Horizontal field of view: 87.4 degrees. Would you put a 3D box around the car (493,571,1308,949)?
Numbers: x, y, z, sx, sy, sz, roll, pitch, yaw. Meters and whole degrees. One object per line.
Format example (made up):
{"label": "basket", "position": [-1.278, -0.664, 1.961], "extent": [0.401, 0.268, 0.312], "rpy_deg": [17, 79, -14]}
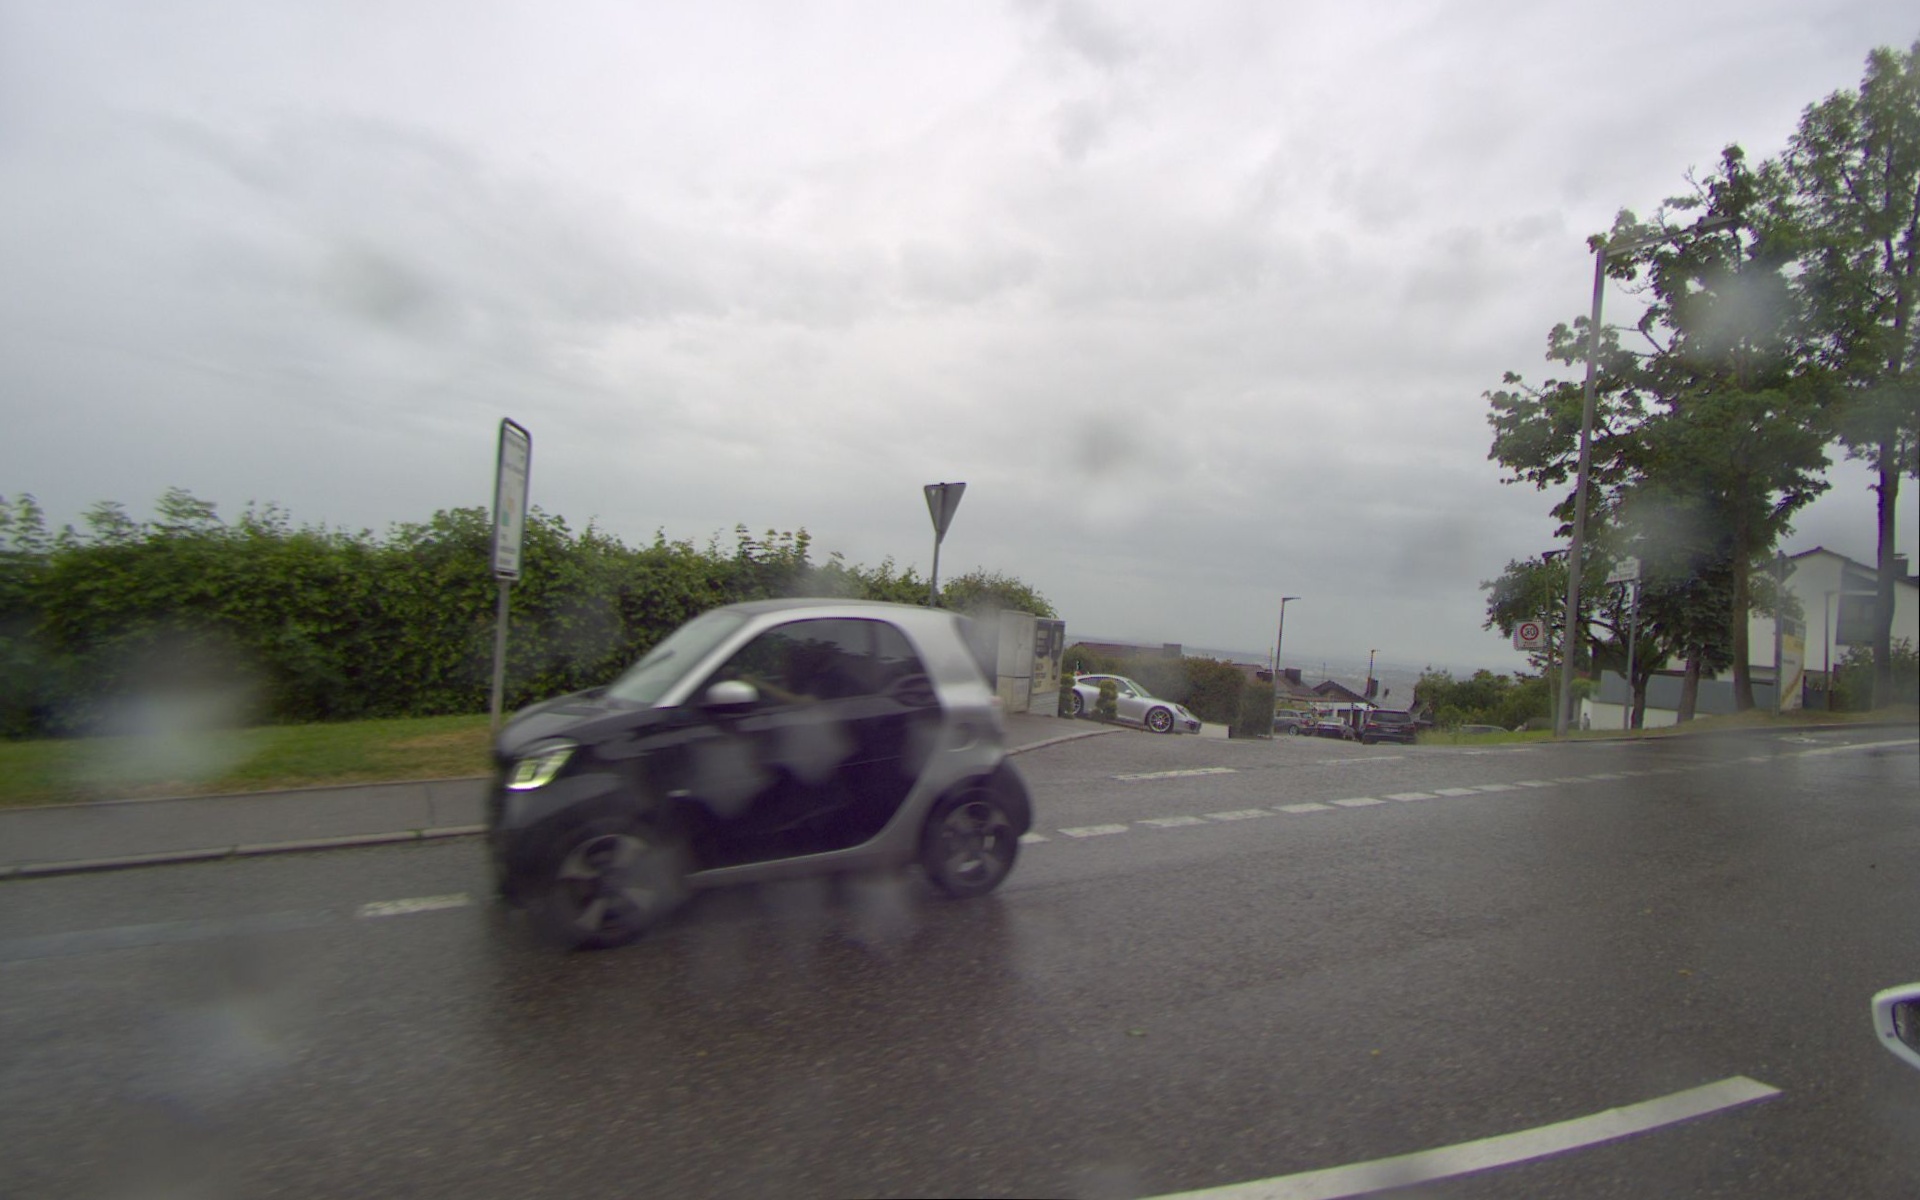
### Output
{"label": "car", "position": [-0.204, 0.753, 6.058], "extent": [4.573, 1.540, 1.823], "rpy_deg": [3, -2, -30]}

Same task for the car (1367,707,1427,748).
{"label": "car", "position": [23.817, 6.953, 54.661], "extent": [1.969, 2.038, 3.986], "rpy_deg": [-1, -7, 39]}

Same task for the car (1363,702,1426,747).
{"label": "car", "position": [15.518, 4.460, 35.785], "extent": [1.850, 1.434, 3.999], "rpy_deg": [0, -7, 27]}

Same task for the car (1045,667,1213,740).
{"label": "car", "position": [4.598, 2.807, 27.213], "extent": [4.164, 1.268, 1.789], "rpy_deg": [8, -4, 19]}

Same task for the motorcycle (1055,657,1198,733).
{"label": "motorcycle", "position": [4.819, 2.709, 29.132], "extent": [3.801, 1.282, 1.218], "rpy_deg": [11, 4, 20]}

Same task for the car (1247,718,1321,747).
{"label": "car", "position": [19.976, 8.191, 61.998], "extent": [1.789, 1.658, 3.957], "rpy_deg": [3, -7, -39]}

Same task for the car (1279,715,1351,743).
{"label": "car", "position": [22.847, 8.302, 64.781], "extent": [1.789, 1.658, 3.957], "rpy_deg": [3, -7, -39]}
